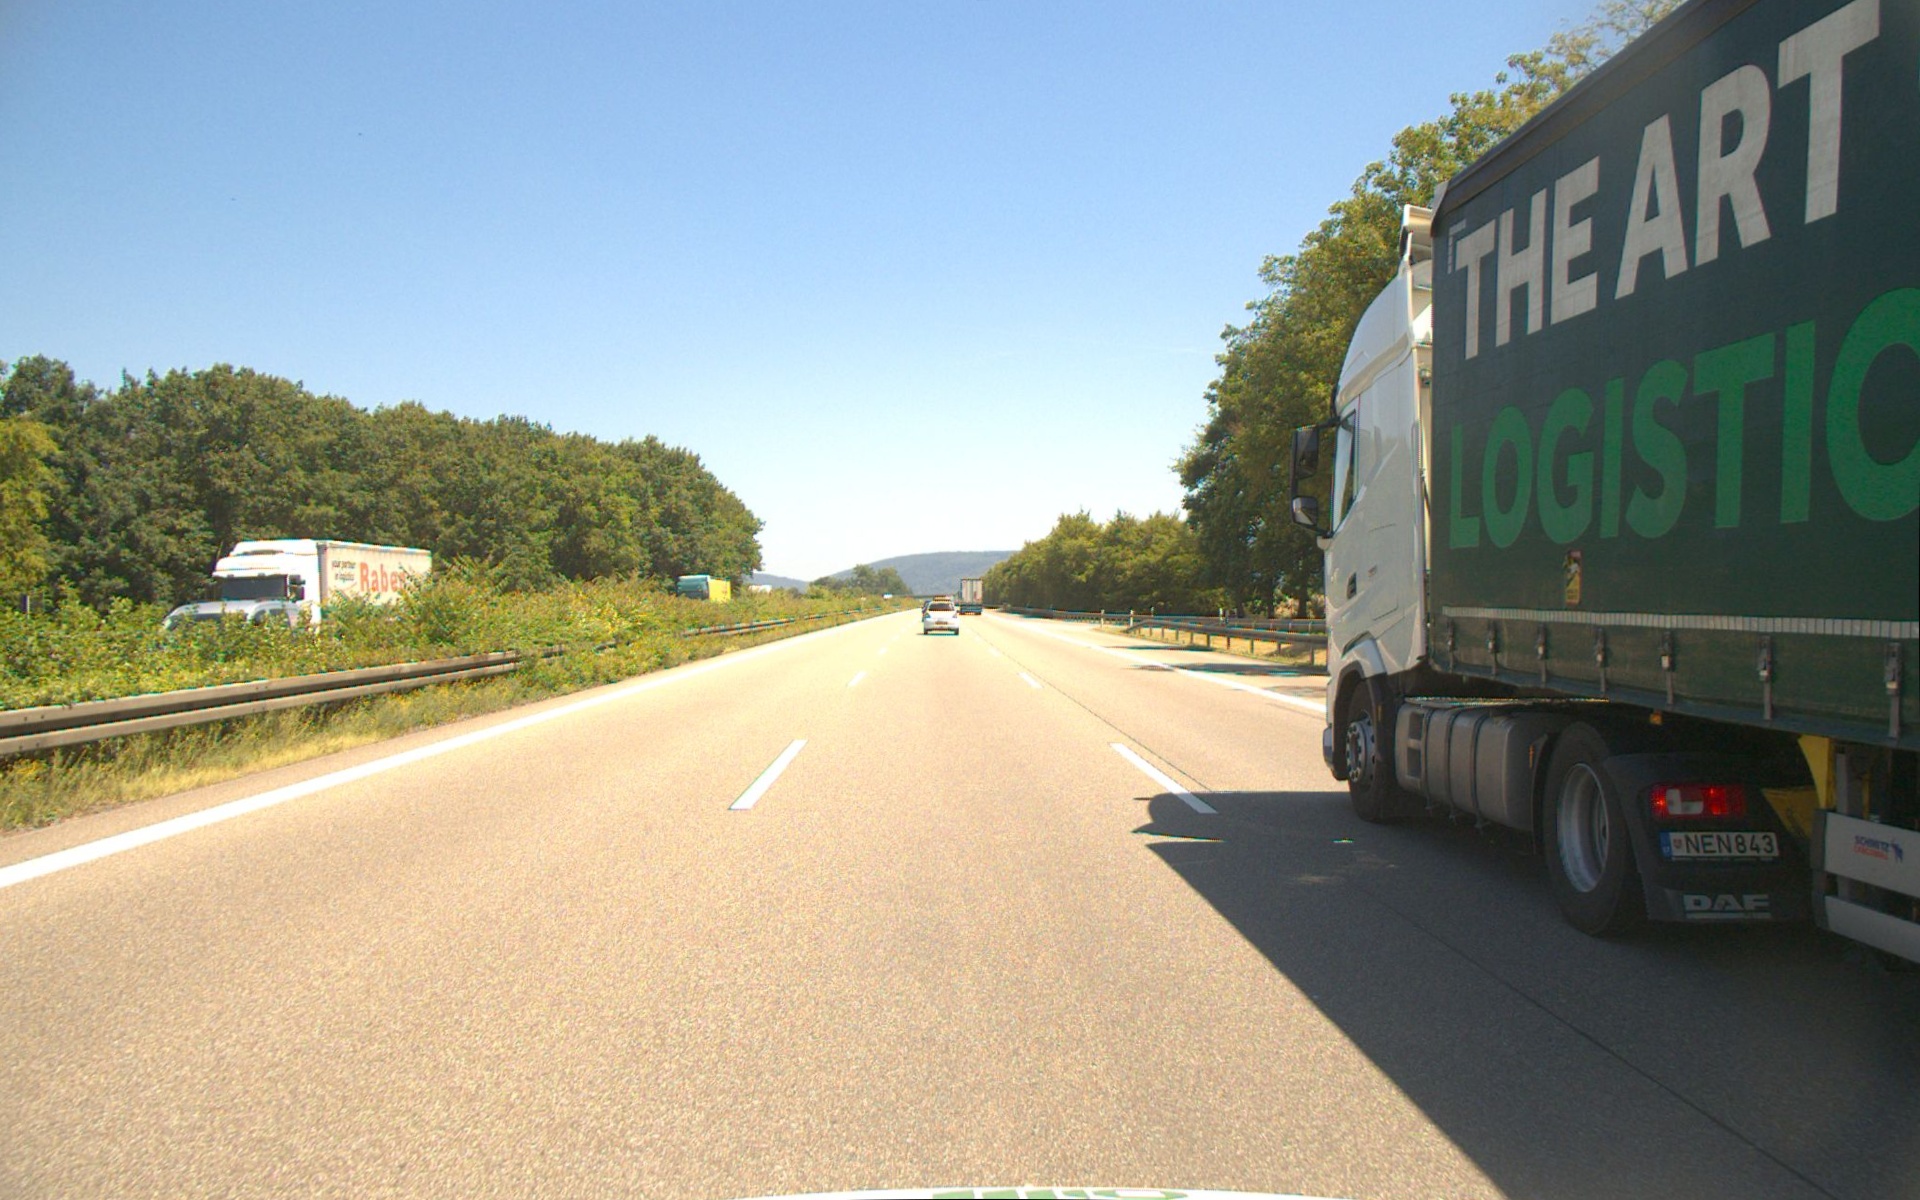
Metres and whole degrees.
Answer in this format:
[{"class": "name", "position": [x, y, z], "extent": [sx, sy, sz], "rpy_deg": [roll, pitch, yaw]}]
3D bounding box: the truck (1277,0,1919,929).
[{"class": "truck", "position": [4.251, -0.822, 10.731], "extent": [3.117, 4.688, 5.946], "rpy_deg": [0, 0, -1]}]

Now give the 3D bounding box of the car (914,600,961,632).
[{"class": "car", "position": [-1.072, 0.747, 77.612], "extent": [1.777, 1.429, 3.311], "rpy_deg": [-1, 0, -8]}]

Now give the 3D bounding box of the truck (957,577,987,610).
[{"class": "truck", "position": [1.354, -0.757, 195.192], "extent": [3.258, 3.822, 12.793], "rpy_deg": [1, 0, -1]}]

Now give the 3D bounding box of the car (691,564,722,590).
[{"class": "car", "position": [-20.867, -1.858, 136.450], "extent": [1.953, 2.049, 3.999], "rpy_deg": [1, 0, -1]}]

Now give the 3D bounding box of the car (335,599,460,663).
[{"class": "car", "position": [-13.031, 0.688, 38.517], "extent": [1.691, 1.382, 3.698], "rpy_deg": [1, 0, -1]}]

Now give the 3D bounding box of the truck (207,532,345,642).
[{"class": "truck", "position": [-20.868, -0.388, 50.663], "extent": [2.521, 3.199, 4.262], "rpy_deg": [0, 0, -2]}]

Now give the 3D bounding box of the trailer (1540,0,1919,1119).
[{"class": "trailer", "position": [4.489, -0.818, 1.840], "extent": [3.117, 4.708, 12.046], "rpy_deg": [0, 0, -2]}]

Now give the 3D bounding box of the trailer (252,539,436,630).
[{"class": "trailer", "position": [-21.021, -0.485, 57.303], "extent": [2.509, 2.828, 10.947], "rpy_deg": [0, 0, -1]}]
